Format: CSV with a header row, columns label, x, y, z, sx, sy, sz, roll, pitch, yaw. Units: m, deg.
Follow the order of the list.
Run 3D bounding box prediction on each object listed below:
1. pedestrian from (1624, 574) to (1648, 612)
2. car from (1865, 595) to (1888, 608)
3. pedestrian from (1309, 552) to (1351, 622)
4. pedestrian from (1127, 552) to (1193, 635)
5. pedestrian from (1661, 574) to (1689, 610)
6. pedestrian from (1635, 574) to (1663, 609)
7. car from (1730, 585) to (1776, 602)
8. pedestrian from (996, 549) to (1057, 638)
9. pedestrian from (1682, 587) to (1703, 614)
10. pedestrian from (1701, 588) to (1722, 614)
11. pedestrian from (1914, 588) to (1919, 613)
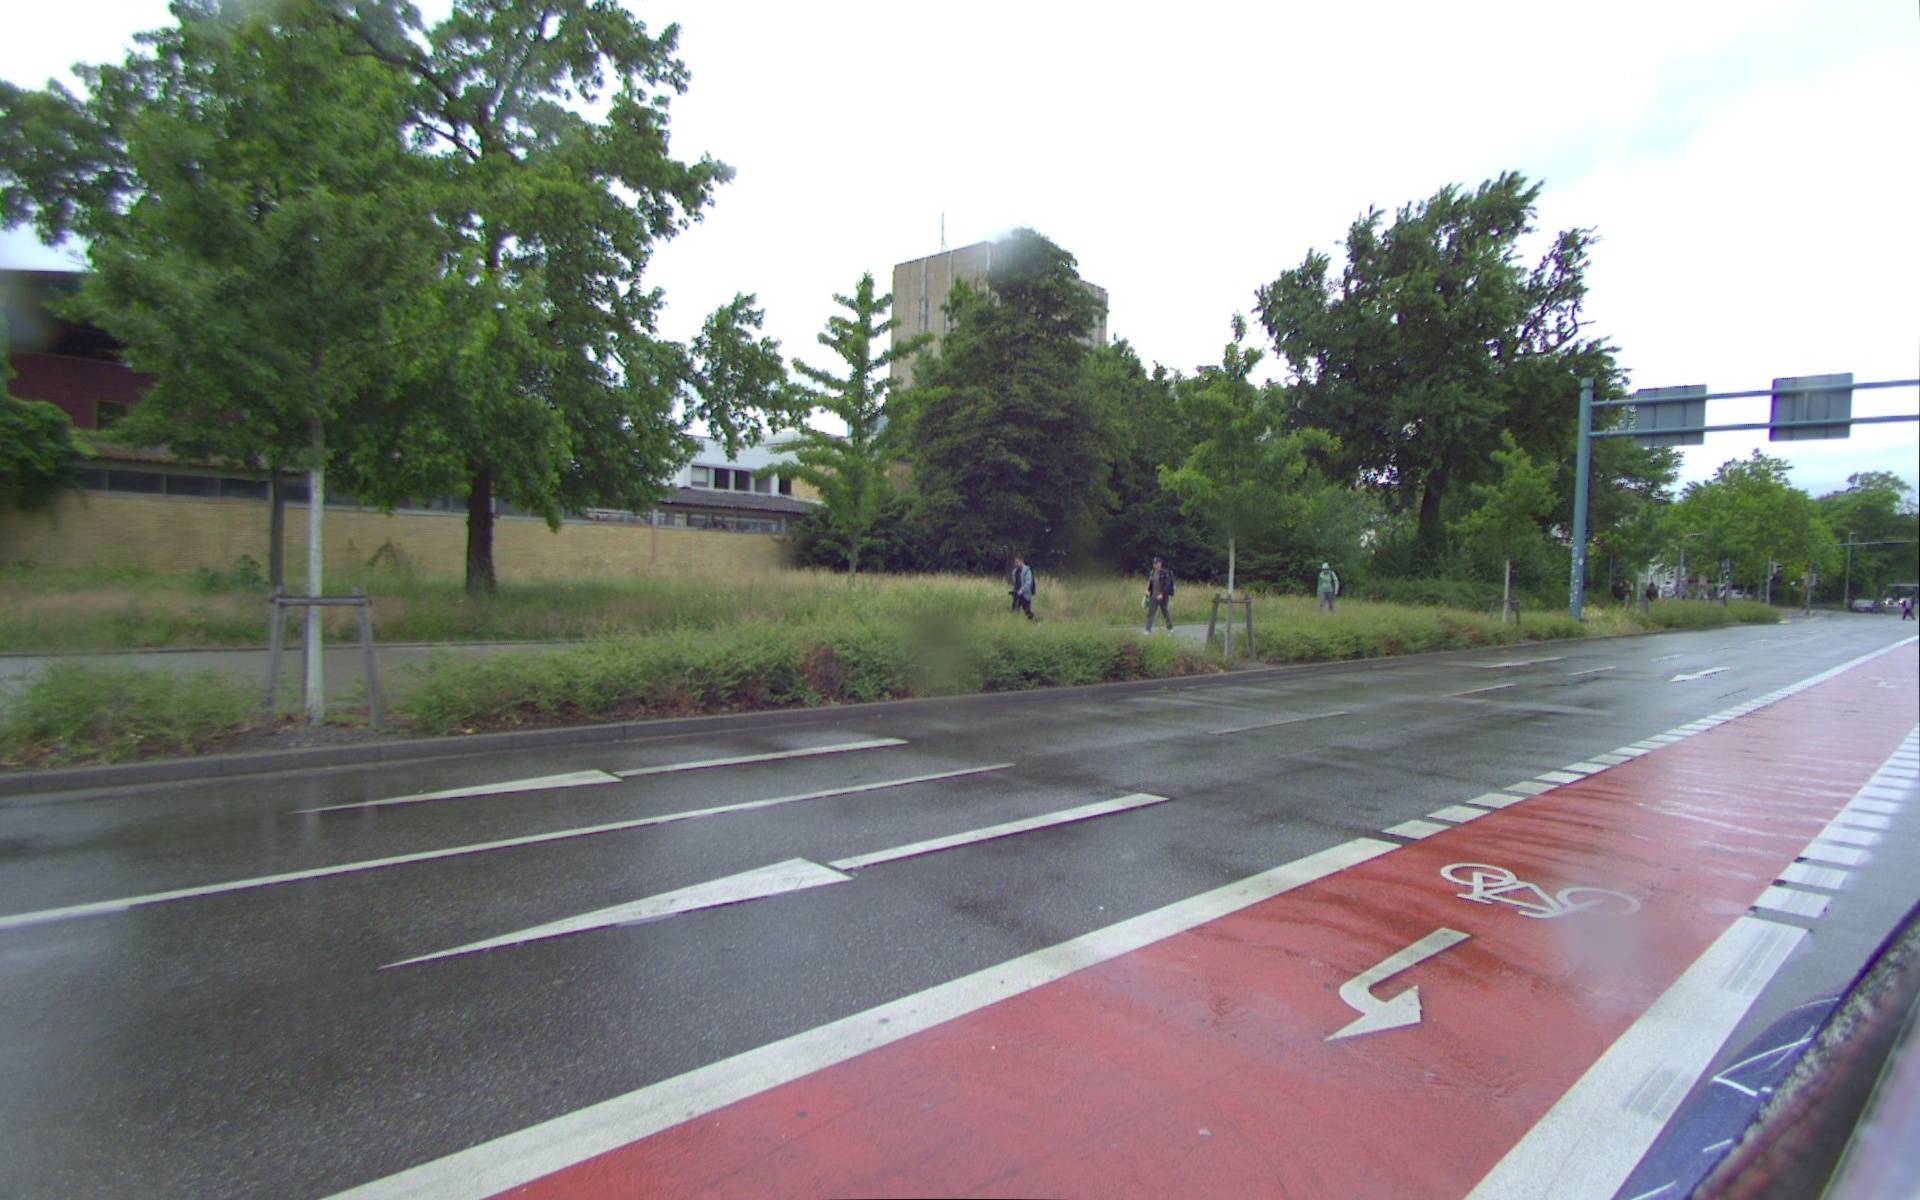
label,x,y,z,sx,sy,sz,roll,pitch,yaw
pedestrian,34.213,-0.339,51.236,0.835,1.882,0.732,1,2,-38
car,96.318,0.116,106.357,1.657,1.282,4.042,4,3,44
pedestrian,10.976,-0.398,30.008,0.813,2.038,0.793,1,2,-38
pedestrian,4.441,-0.158,22.447,1.026,1.769,0.936,1,2,-38
pedestrian,36.028,-0.396,50.995,0.814,1.743,0.935,4,-2,-39
pedestrian,35.315,-0.446,51.871,0.814,1.725,0.935,4,-2,-39
car,97.482,-0.850,124.439,4.405,1.895,1.615,4,2,39
pedestrian,1.394,-0.153,21.330,0.813,1.819,0.936,1,2,-37
pedestrian,47.043,0.021,65.007,0.868,1.627,0.856,3,2,24
pedestrian,47.941,0.070,64.565,0.868,1.627,0.857,3,2,24
pedestrian,72.116,0.061,75.817,0.614,1.847,0.785,1,2,-43
